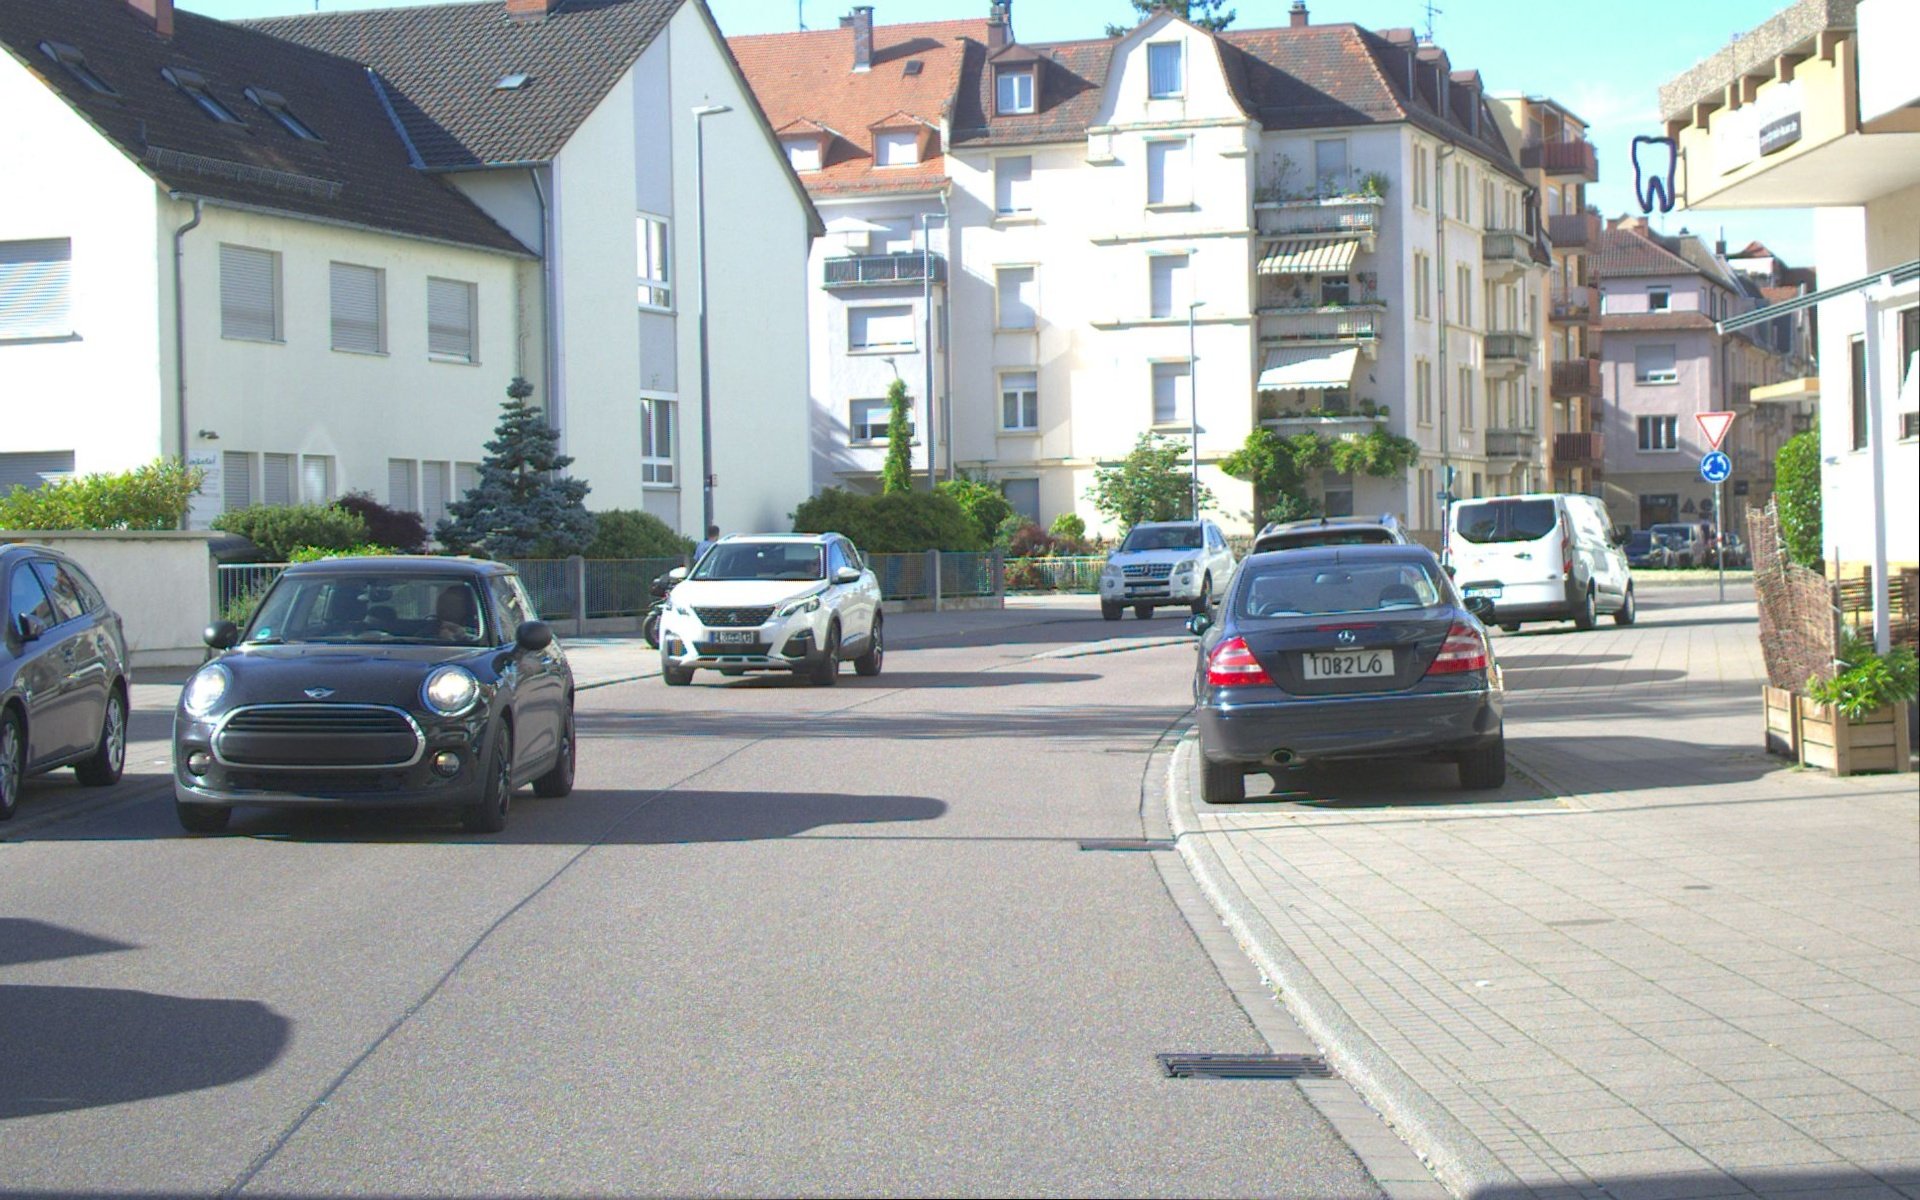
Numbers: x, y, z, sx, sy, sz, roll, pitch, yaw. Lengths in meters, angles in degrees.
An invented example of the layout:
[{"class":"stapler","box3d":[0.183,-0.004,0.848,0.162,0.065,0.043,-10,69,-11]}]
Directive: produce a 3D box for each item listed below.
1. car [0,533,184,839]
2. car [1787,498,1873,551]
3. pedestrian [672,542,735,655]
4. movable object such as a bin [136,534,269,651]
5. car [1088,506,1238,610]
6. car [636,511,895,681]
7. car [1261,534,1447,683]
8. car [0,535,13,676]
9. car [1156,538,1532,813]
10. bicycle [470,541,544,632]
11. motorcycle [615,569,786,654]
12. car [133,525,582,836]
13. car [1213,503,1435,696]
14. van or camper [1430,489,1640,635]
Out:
[{"class":"car","box3d":[-5.894,0.393,19.577,1.993,1.529,4.919,-1,1,-2]},{"class":"car","box3d":[30.988,-2.689,122.366,2.434,1.805,4.719,-1,1,20]},{"class":"pedestrian","box3d":[-3.941,-0.014,52.838,0.683,1.698,0.823,-1,-2,20]},{"class":"movable object such as a bin","box3d":[-9.943,-0.085,45.158,1.283,1.485,1.226,-1,-2,15]},{"class":"car","box3d":[3.724,-0.777,62.407,1.991,1.779,4.517,-1,1,13]},{"class":"car","box3d":[-2.048,0.014,37.493,1.920,1.719,4.335,-1,-2,9]},{"class":"car","box3d":[4.281,0.048,36.880,1.718,1.404,4.313,-3,1,9]},{"class":"car","box3d":[-11.944,0.051,37.011,1.802,1.550,3.184,-1,-2,22]},{"class":"car","box3d":[2.316,0.397,20.784,1.971,1.445,5.002,-1,0,6]},{"class":"bicycle","box3d":[-6.457,-0.182,49.051,0.456,1.246,1.927,-1,-2,11]},{"class":"motorcycle","box3d":[-3.460,0.146,45.882,2.060,1.015,0.946,3,3,25]},{"class":"car","box3d":[-3.206,0.469,18.974,1.740,1.508,3.729,-1,-2,1]},{"class":"car","box3d":[3.475,0.055,32.182,1.818,1.648,4.558,-1,-2,9]},{"class":"van or camper","box3d":[8.456,-0.574,50.233,2.022,1.940,4.698,-3,0,21]}]
